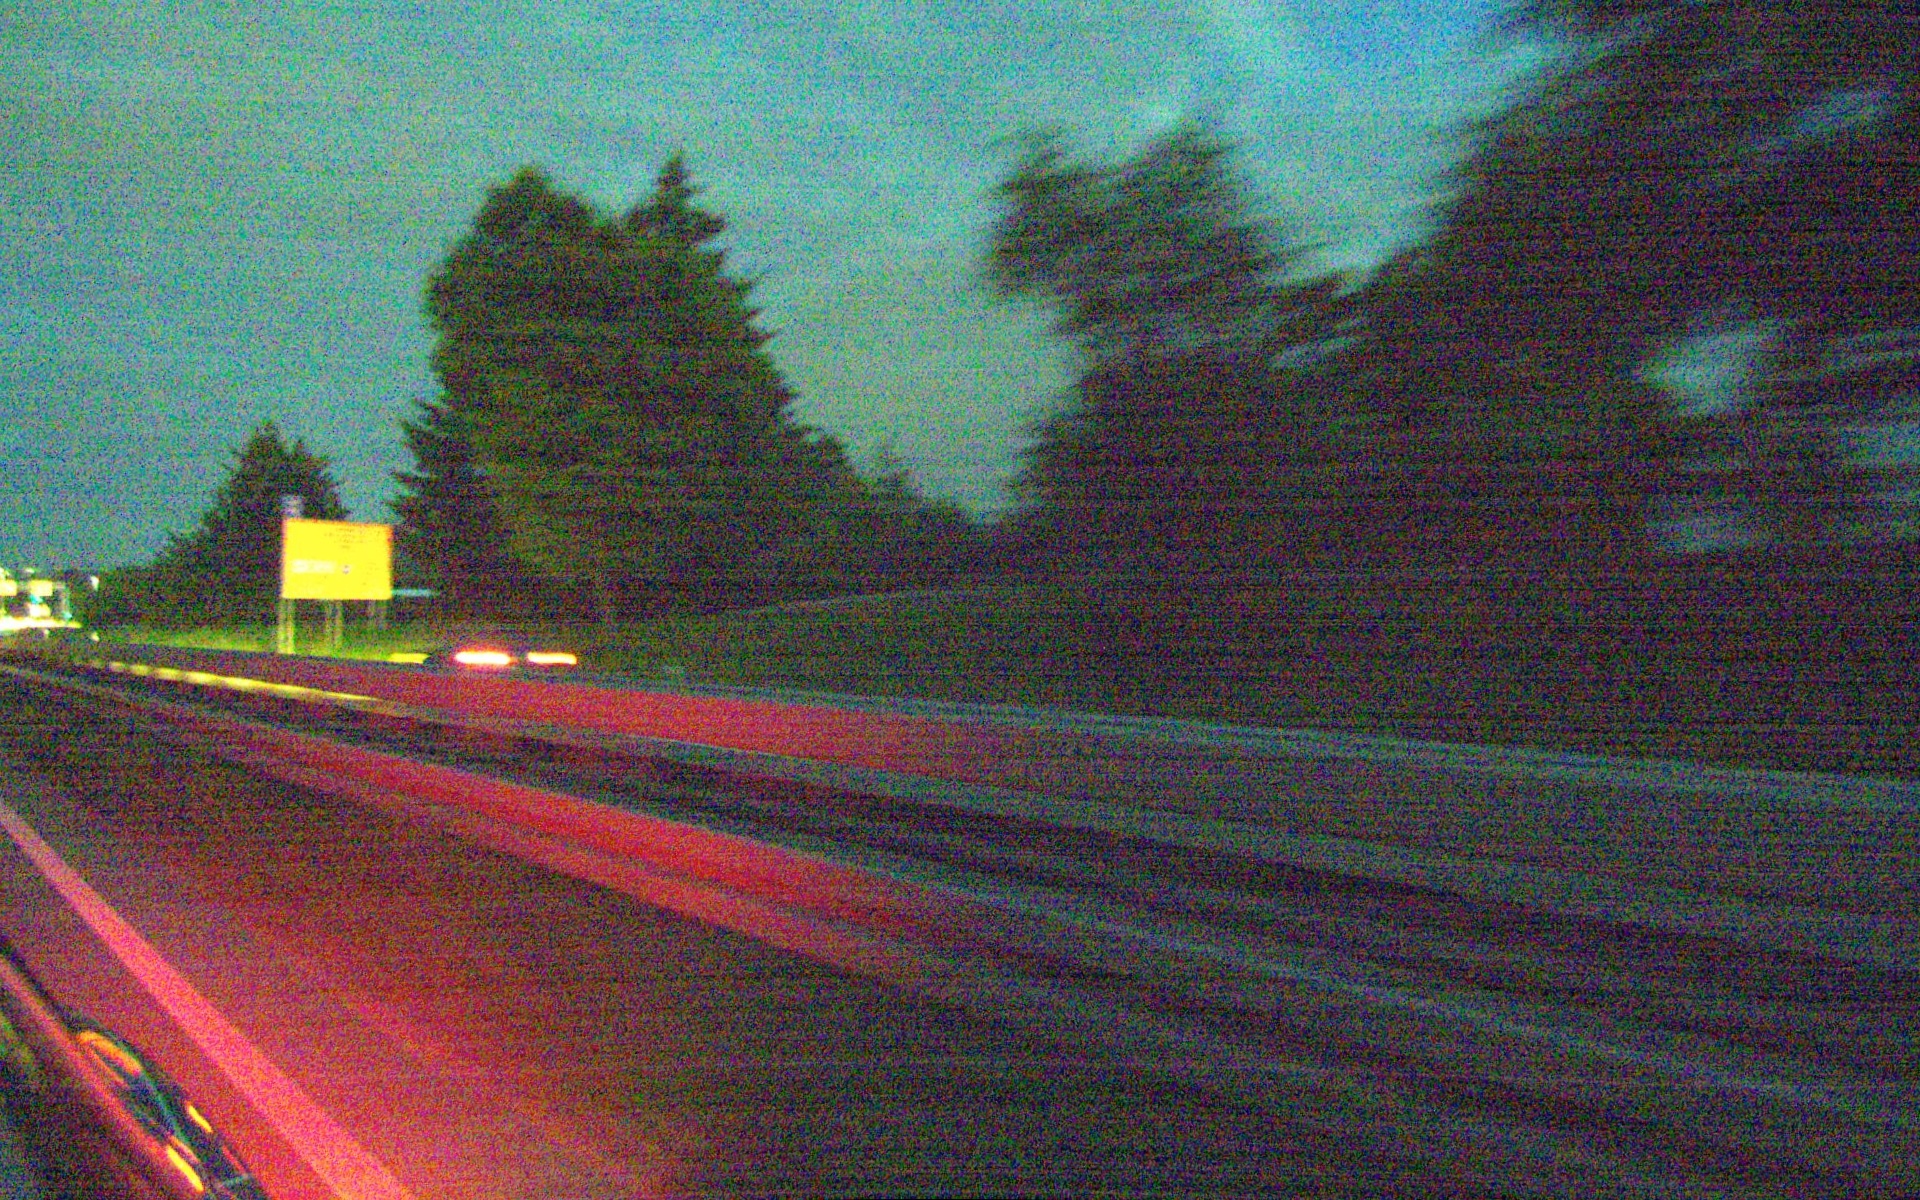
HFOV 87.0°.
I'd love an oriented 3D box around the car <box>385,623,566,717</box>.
[{"bbox_3d":[-9.503,1.268,19.697,4.164,1.599,1.665,-1,-1,41],"label":"car"}]
